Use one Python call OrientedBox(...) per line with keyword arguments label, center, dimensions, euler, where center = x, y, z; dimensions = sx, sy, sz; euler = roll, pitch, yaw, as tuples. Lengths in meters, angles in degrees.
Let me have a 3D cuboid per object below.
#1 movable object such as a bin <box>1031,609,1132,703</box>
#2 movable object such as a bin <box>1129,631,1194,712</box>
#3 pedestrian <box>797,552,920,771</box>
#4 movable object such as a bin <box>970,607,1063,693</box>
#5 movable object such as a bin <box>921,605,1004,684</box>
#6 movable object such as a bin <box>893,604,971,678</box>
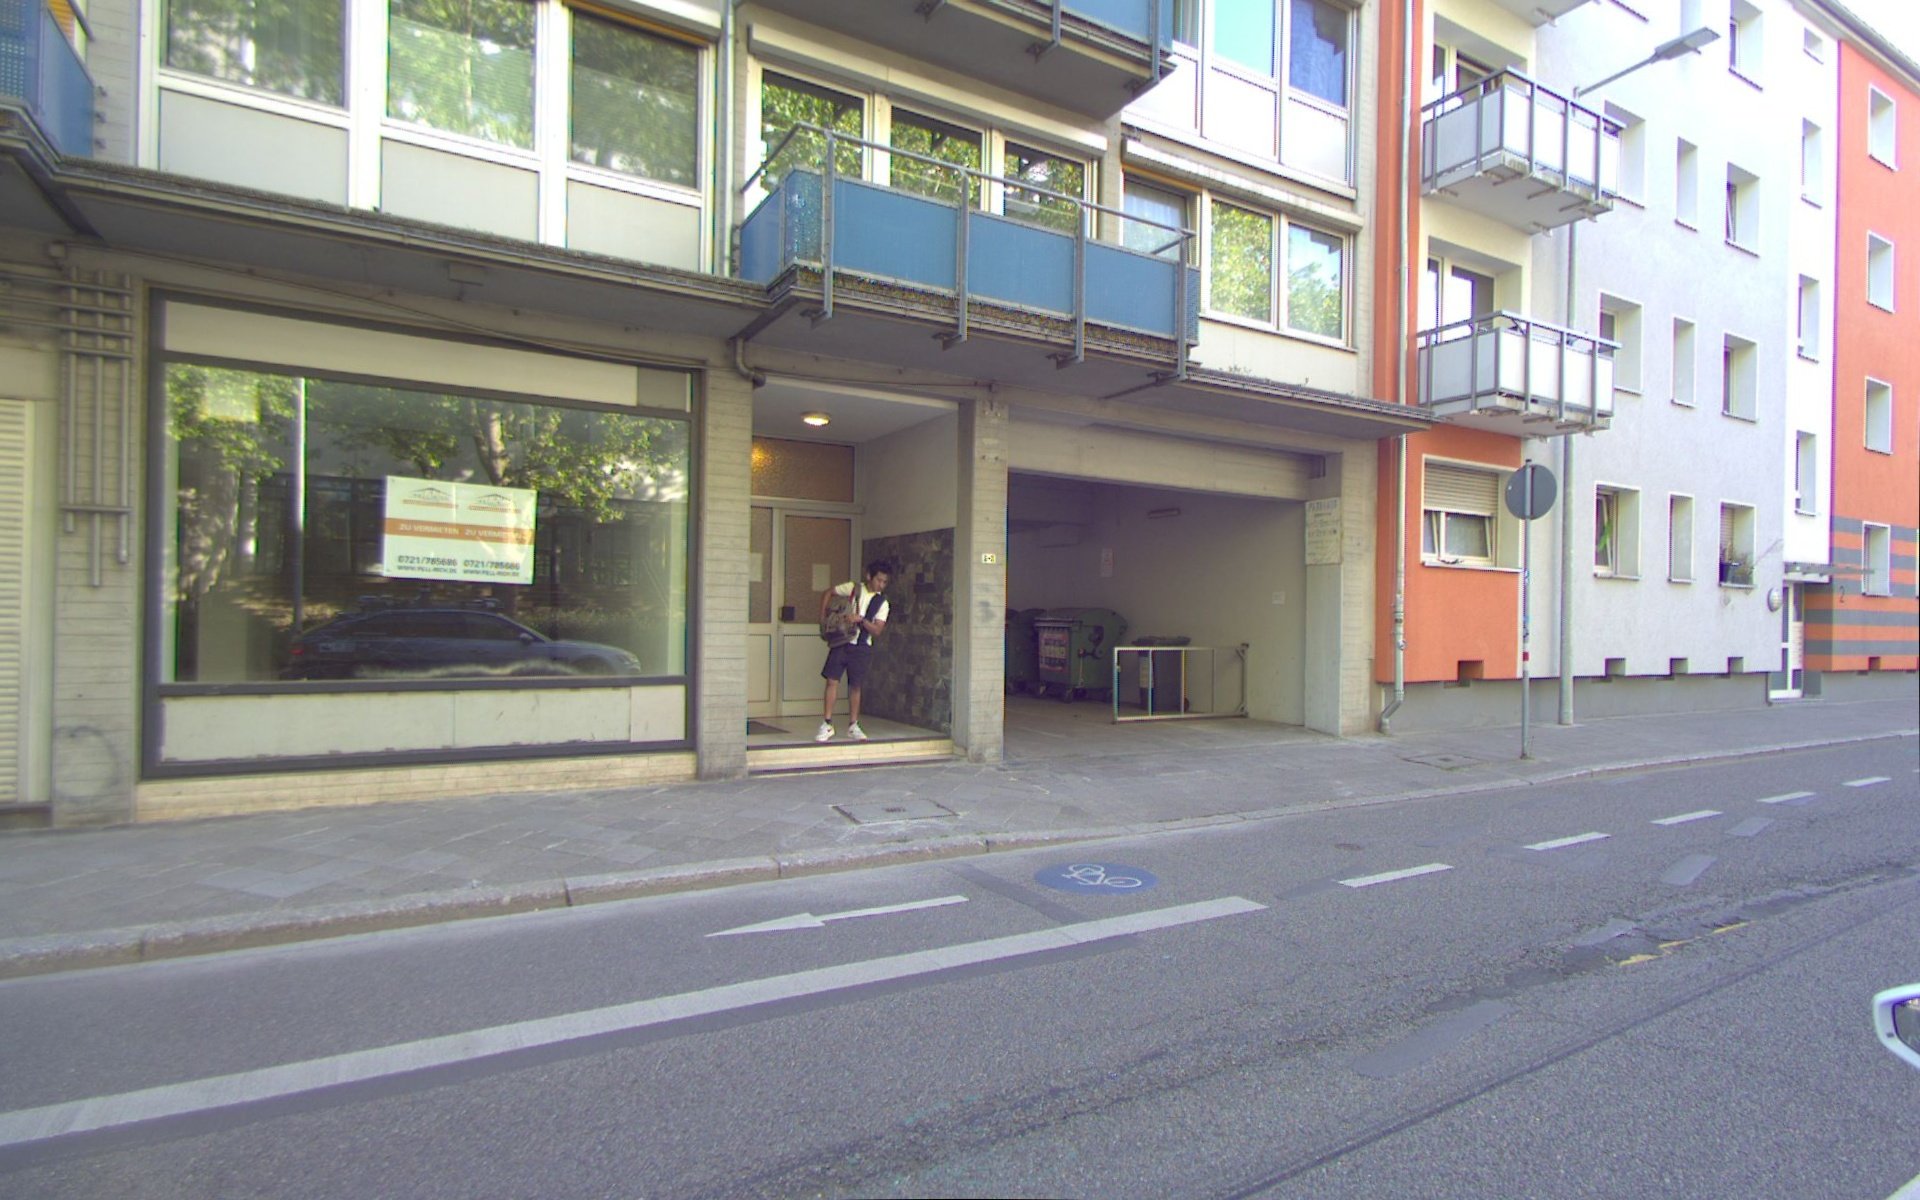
OrientedBox(label="movable object such as a bin", center=(1.894, 0.860, 15.812), dimensions=(1.066, 1.384, 1.192), euler=(2, 0, -27))
OrientedBox(label="movable object such as a bin", center=(2.894, 1.019, 14.462), dimensions=(0.650, 1.115, 0.626), euler=(2, 0, -27))
OrientedBox(label="pedestrian", center=(-0.943, 0.546, 9.255), dimensions=(0.882, 1.902, 0.703), euler=(2, 0, -28))
OrientedBox(label="movable object such as a bin", center=(0.952, 0.837, 17.127), dimensions=(1.066, 1.384, 1.255), euler=(2, 0, -27))
OrientedBox(label="movable object such as a bin", center=(0.041, 0.816, 18.696), dimensions=(1.066, 1.384, 1.255), euler=(2, 0, -27))
OrientedBox(label="movable object such as a bin", center=(-0.567, 0.802, 19.865), dimensions=(1.066, 1.384, 1.255), euler=(2, 0, -27))
